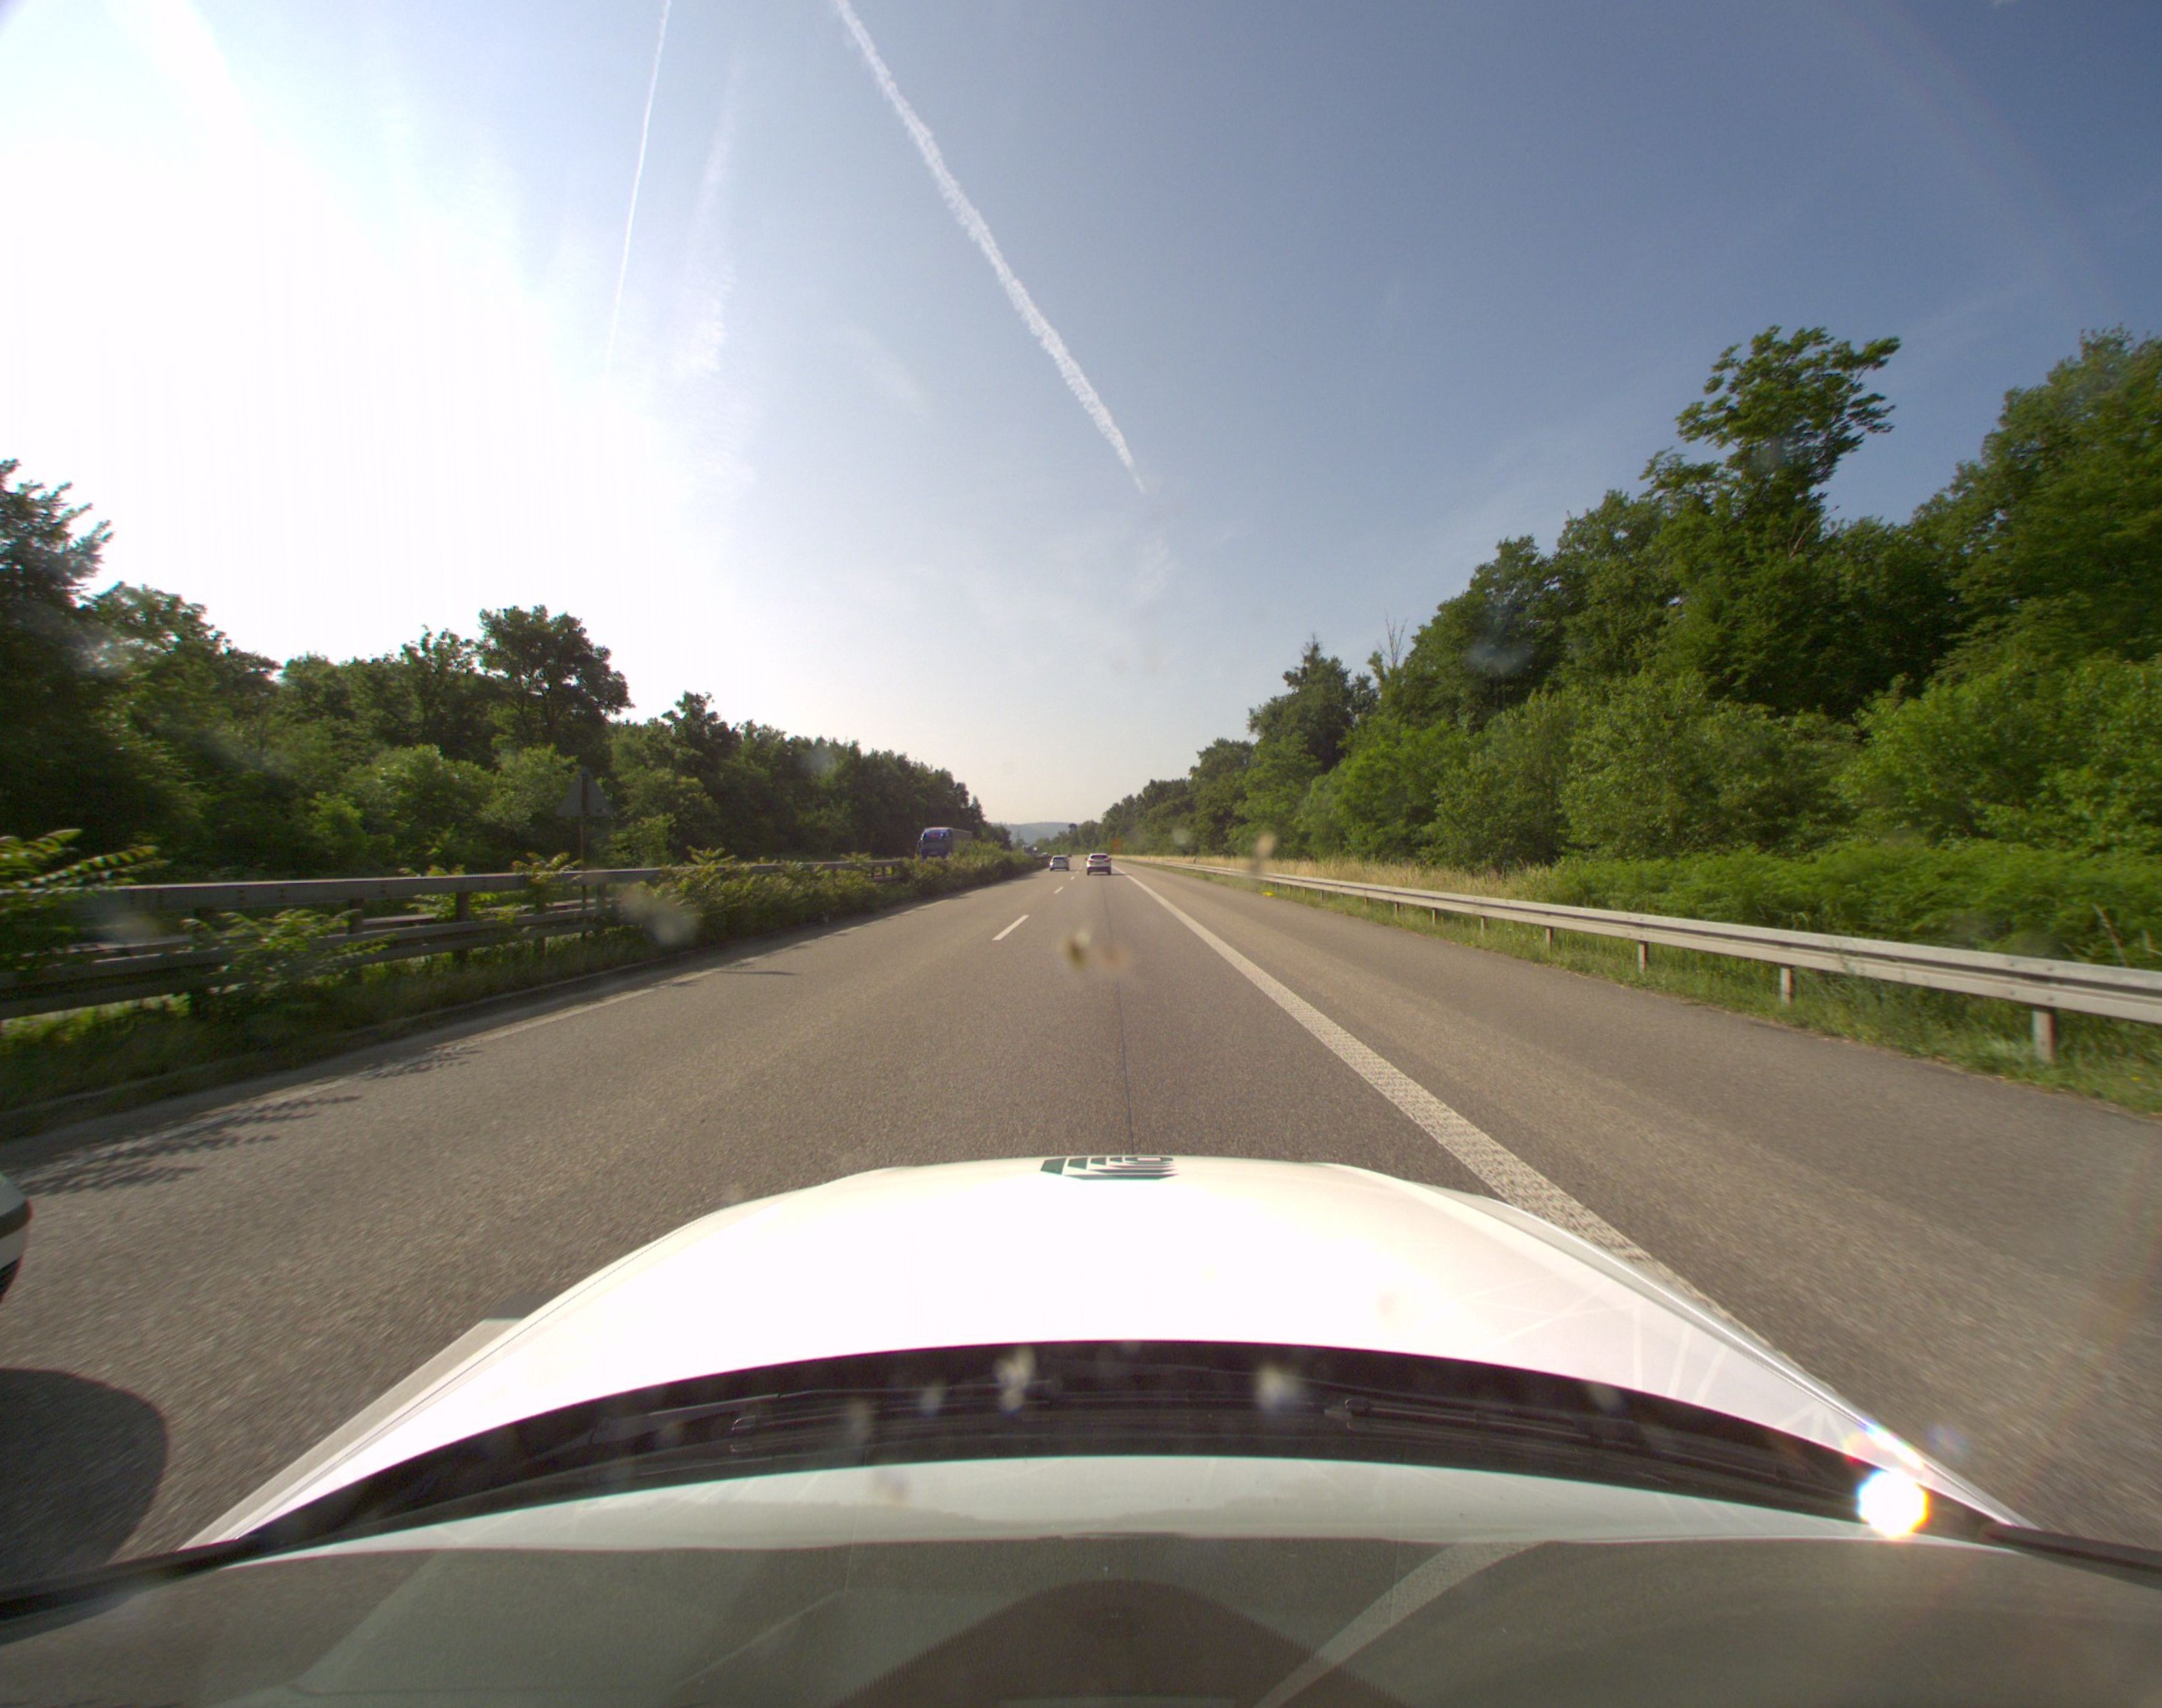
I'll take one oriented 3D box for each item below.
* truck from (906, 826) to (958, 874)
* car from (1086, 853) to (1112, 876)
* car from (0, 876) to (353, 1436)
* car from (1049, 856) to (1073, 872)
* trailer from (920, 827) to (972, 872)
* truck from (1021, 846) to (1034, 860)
[{"bbox_3d":[-12.993,-0.336,71.852,2.774,3.998,8.418,-1,0,1],"label":"truck"},{"bbox_3d":[1.351,0.747,60.685,1.867,1.586,4.001,1,0,1],"label":"car"},{"bbox_3d":[-3.831,0.835,0.613,1.743,1.485,5.265,-1,0,1],"label":"car"},{"bbox_3d":[-1.883,0.938,78.312,1.785,1.438,5.283,-1,0,3],"label":"car"},{"bbox_3d":[-12.823,-0.382,78.456,2.821,3.998,11.437,-1,0,1],"label":"trailer"},{"bbox_3d":[-14.300,-0.202,217.703,2.793,3.770,8.473,-1,0,0],"label":"truck"}]
